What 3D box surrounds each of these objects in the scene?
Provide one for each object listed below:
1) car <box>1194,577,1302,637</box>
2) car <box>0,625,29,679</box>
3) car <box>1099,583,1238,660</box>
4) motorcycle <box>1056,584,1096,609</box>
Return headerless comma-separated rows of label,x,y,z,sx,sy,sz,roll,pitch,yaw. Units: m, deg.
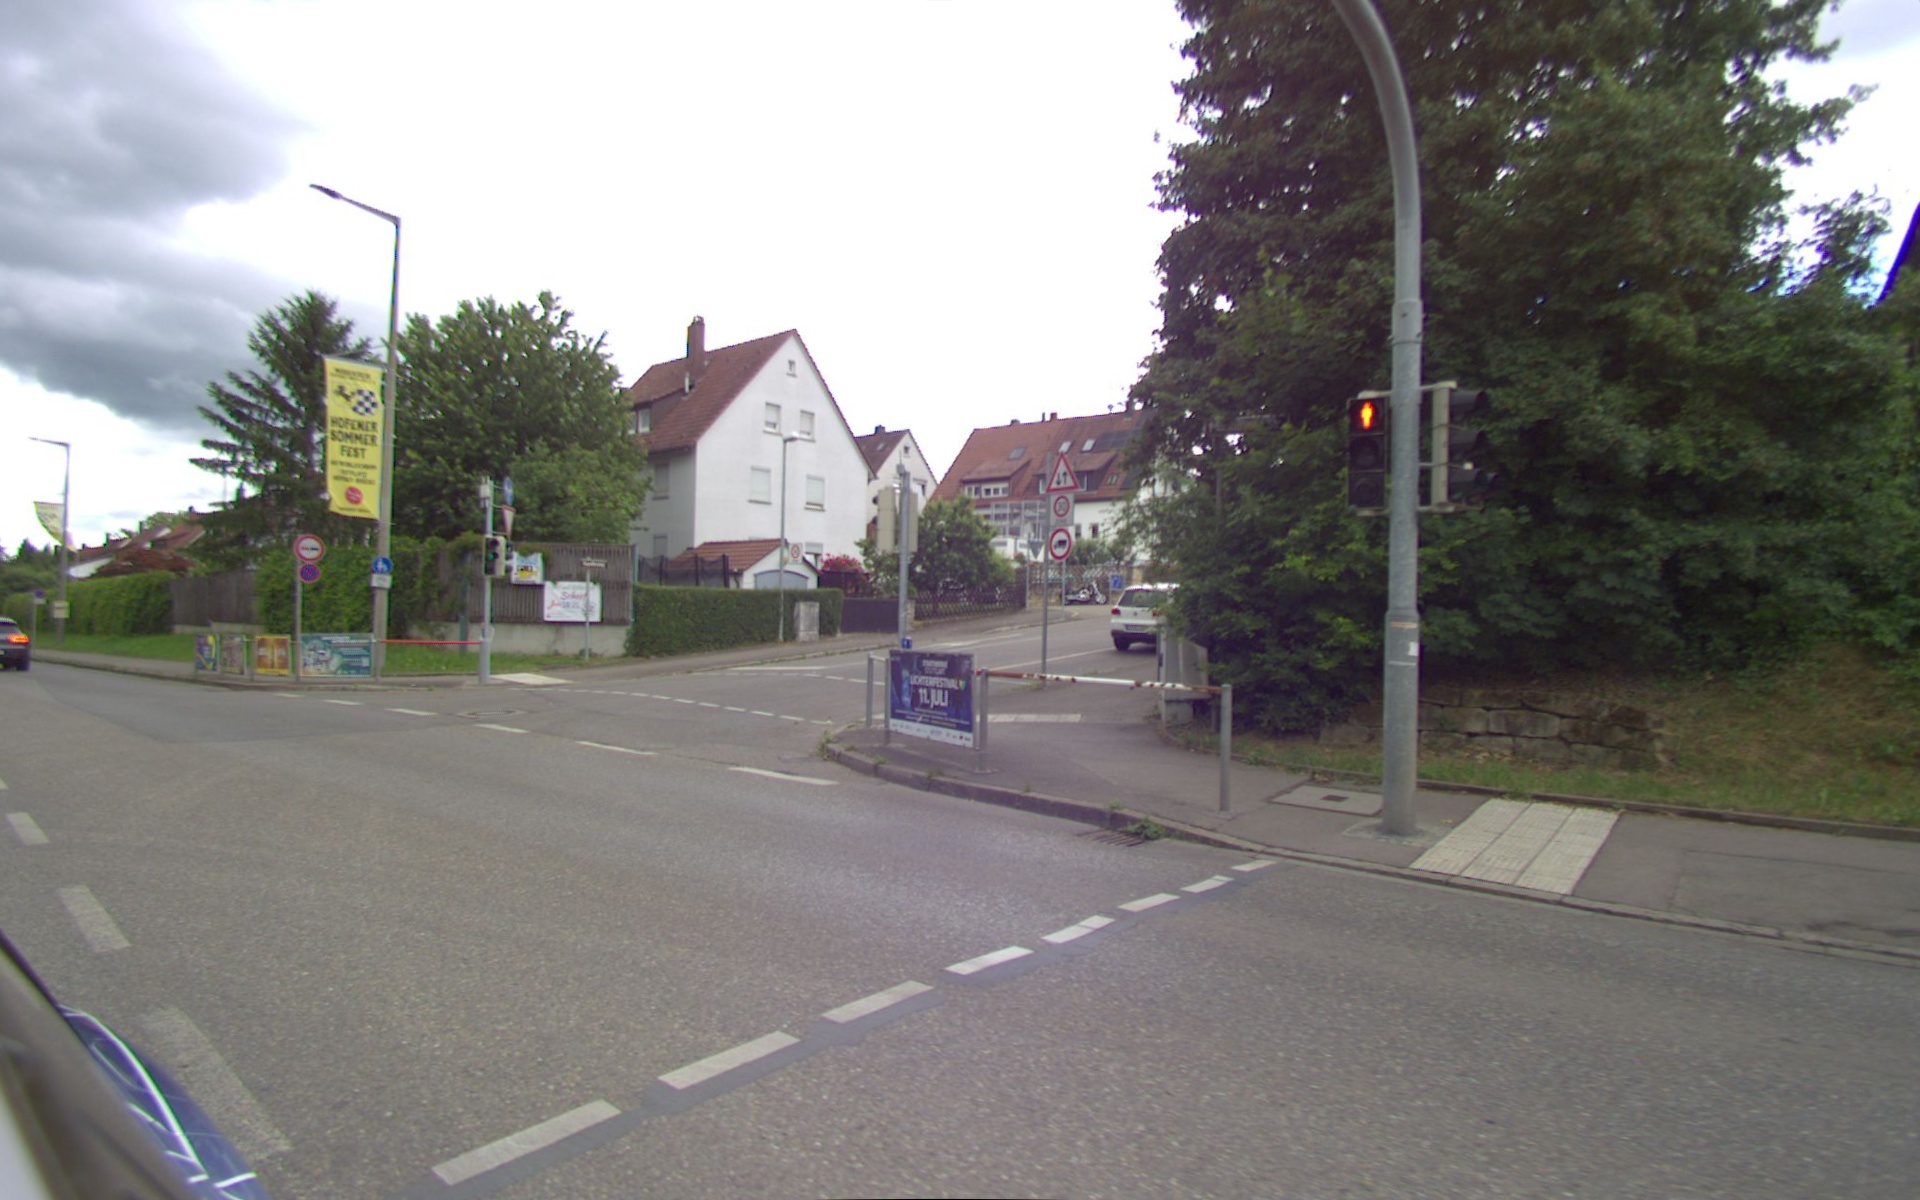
car,8.803,0.177,30.731,1.798,1.521,3.950,-1,3,38
car,-30.230,1.555,31.072,4.275,1.591,1.880,-1,-3,40
car,5.364,0.456,25.689,1.915,1.653,3.950,1,3,38
motorcycle,5.411,-0.148,47.347,1.789,1.116,0.496,-1,0,24
